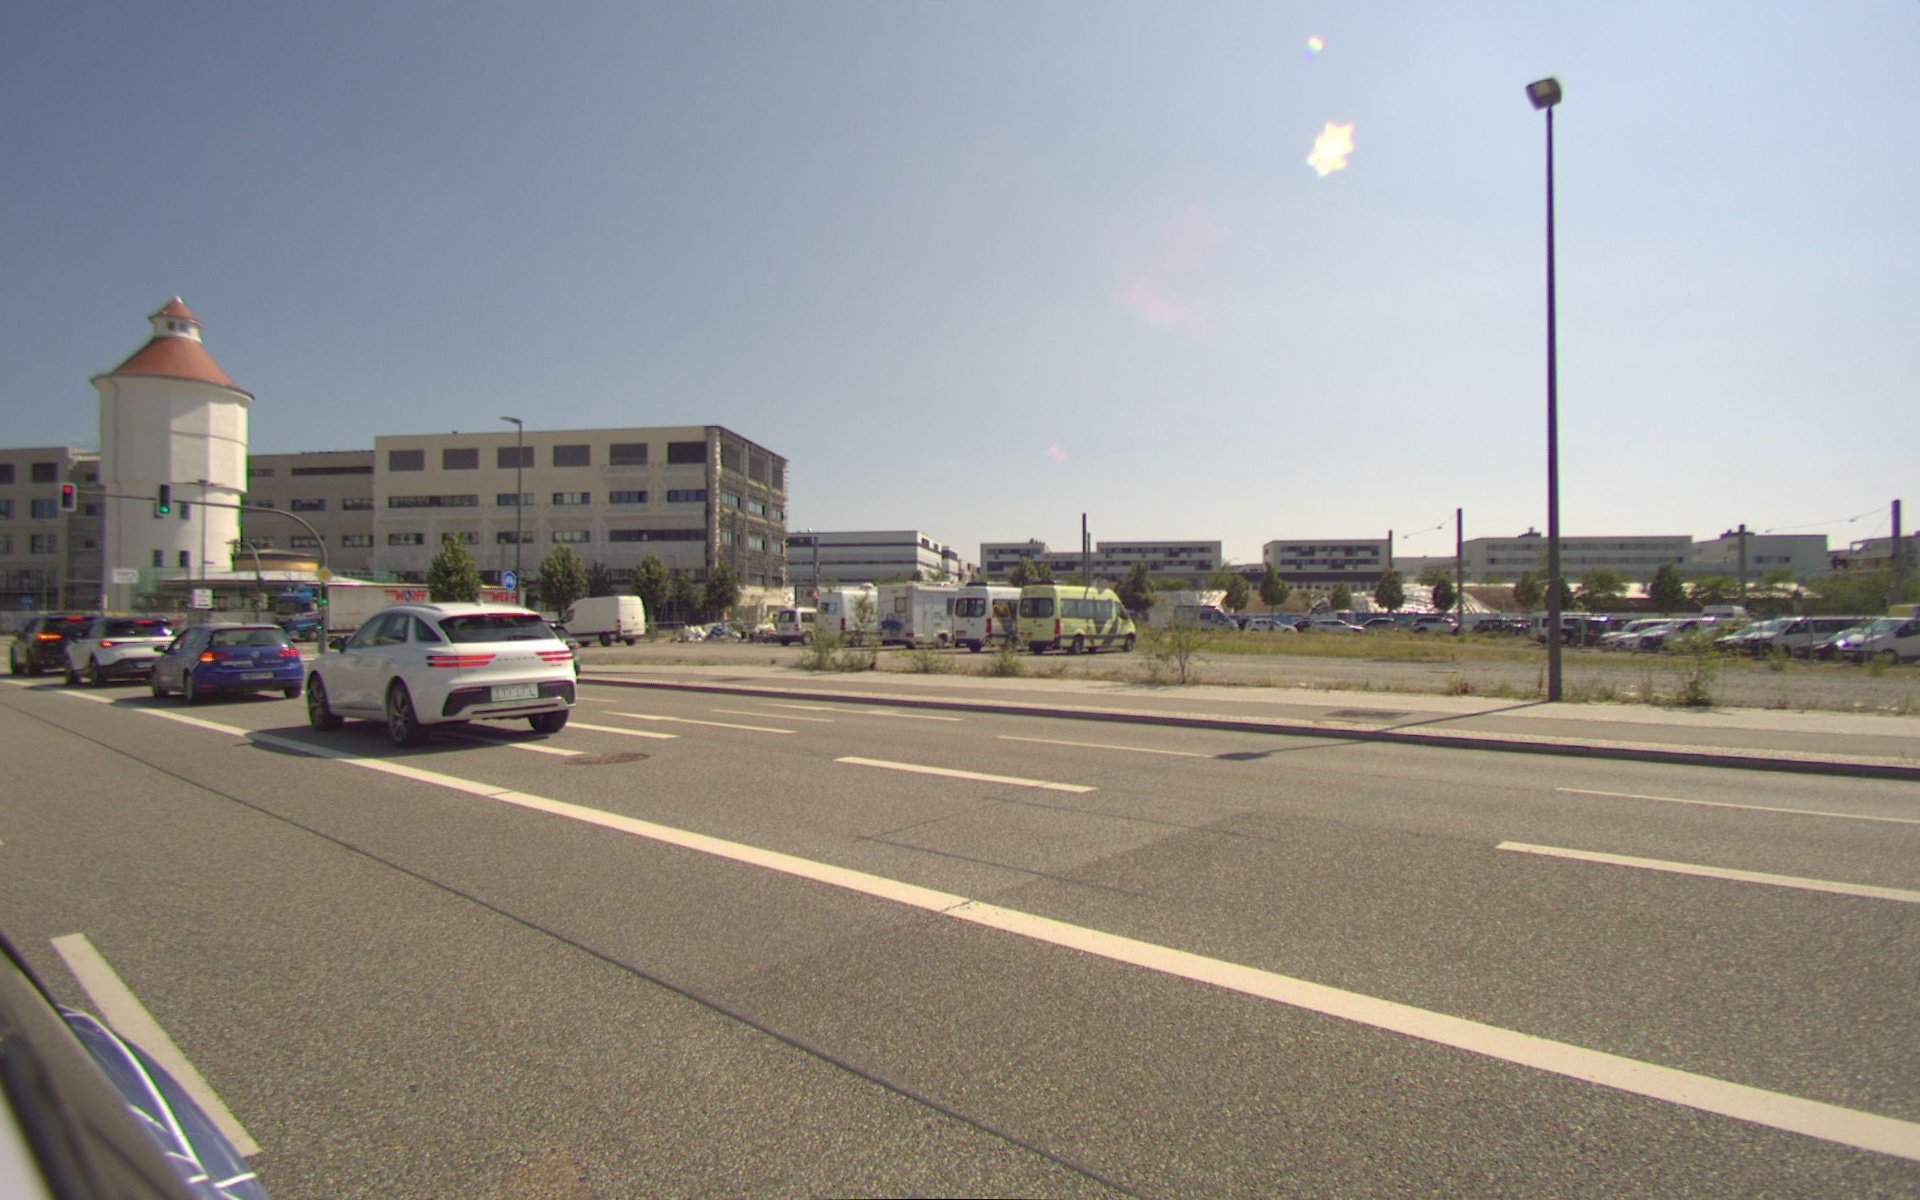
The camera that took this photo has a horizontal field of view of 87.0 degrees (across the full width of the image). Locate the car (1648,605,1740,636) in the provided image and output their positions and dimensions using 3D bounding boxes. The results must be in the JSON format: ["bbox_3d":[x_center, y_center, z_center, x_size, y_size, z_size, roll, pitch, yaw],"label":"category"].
[{"bbox_3d":[47.723,1.342,65.922,4.431,1.985,1.834,0,-2,9],"label":"car"}]

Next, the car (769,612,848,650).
[{"bbox_3d":[-7.496,1.513,50.271,1.655,1.771,3.829,-2,-1,37],"label":"car"}]

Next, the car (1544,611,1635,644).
[{"bbox_3d":[41.167,1.798,66.288,4.601,1.985,1.995,-2,0,9],"label":"car"}]

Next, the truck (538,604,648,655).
[{"bbox_3d":[-20.035,1.595,55.233,5.914,2.675,2.154,-1,-1,26],"label":"truck"}]

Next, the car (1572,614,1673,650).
[{"bbox_3d":[39.692,1.894,60.755,4.601,1.985,1.995,-2,0,9],"label":"car"}]

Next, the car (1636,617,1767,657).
[{"bbox_3d":[40.046,1.992,54.780,5.335,1.985,1.995,-2,0,9],"label":"car"}]

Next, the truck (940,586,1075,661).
[{"bbox_3d":[2.059,0.859,42.244,2.570,2.845,5.773,0,1,42],"label":"truck"}]

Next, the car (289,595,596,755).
[{"bbox_3d":[-6.702,0.824,12.851,4.729,1.662,1.893,-1,-1,42],"label":"car"}]

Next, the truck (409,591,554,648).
[{"bbox_3d":[-39.106,1.484,83.316,3.331,4.307,10.840,0,1,30],"label":"truck"}]

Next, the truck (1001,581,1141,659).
[{"bbox_3d":[4.565,0.749,40.402,2.598,2.847,6.576,-2,-1,36],"label":"truck"}]

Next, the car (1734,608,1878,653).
[{"bbox_3d":[38.563,1.400,46.263,4.601,1.985,1.994,0,-2,9],"label":"car"}]

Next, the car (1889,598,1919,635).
[{"bbox_3d":[54.515,0.891,56.095,3.952,2.029,1.996,-1,-2,7],"label":"car"}]

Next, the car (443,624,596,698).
[{"bbox_3d":[-10.150,1.325,23.234,3.597,1.425,1.874,0,1,41],"label":"car"}]

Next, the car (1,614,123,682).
[{"bbox_3d":[-26.242,1.375,29.519,4.650,1.802,1.920,-2,-1,39],"label":"car"}]

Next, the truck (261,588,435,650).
[{"bbox_3d":[-44.008,1.213,73.396,3.281,4.098,10.895,0,1,23],"label":"truck"}]

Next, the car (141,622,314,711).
[{"bbox_3d":[-13.913,1.166,19.140,4.280,1.432,1.767,-1,0,42],"label":"car"}]

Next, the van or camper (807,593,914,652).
[{"bbox_3d":[-4.703,1.019,48.426,2.258,2.682,4.849,-2,-1,41],"label":"van or camper"}]

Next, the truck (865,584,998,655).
[{"bbox_3d":[-1.183,0.791,46.010,2.570,2.923,6.080,0,1,42],"label":"truck"}]

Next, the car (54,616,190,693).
[{"bbox_3d":[-20.245,1.278,24.405,4.094,1.695,1.761,-2,-2,39],"label":"car"}]

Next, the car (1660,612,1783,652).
[{"bbox_3d":[39.194,1.653,52.200,4.601,1.985,1.994,0,-2,9],"label":"car"}]

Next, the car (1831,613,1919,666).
[{"bbox_3d":[37.953,1.559,40.238,4.601,2.029,1.994,0,-2,9],"label":"car"}]

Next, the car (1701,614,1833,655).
[{"bbox_3d":[39.373,1.687,49.494,4.601,1.985,1.994,0,-2,9],"label":"car"}]

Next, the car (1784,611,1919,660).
[{"bbox_3d":[38.287,1.520,43.030,4.601,2.029,1.994,0,-2,9],"label":"car"}]

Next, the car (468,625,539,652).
[{"bbox_3d":[-29.945,2.493,66.511,1.870,1.652,3.965,-1,-1,26],"label":"car"}]
